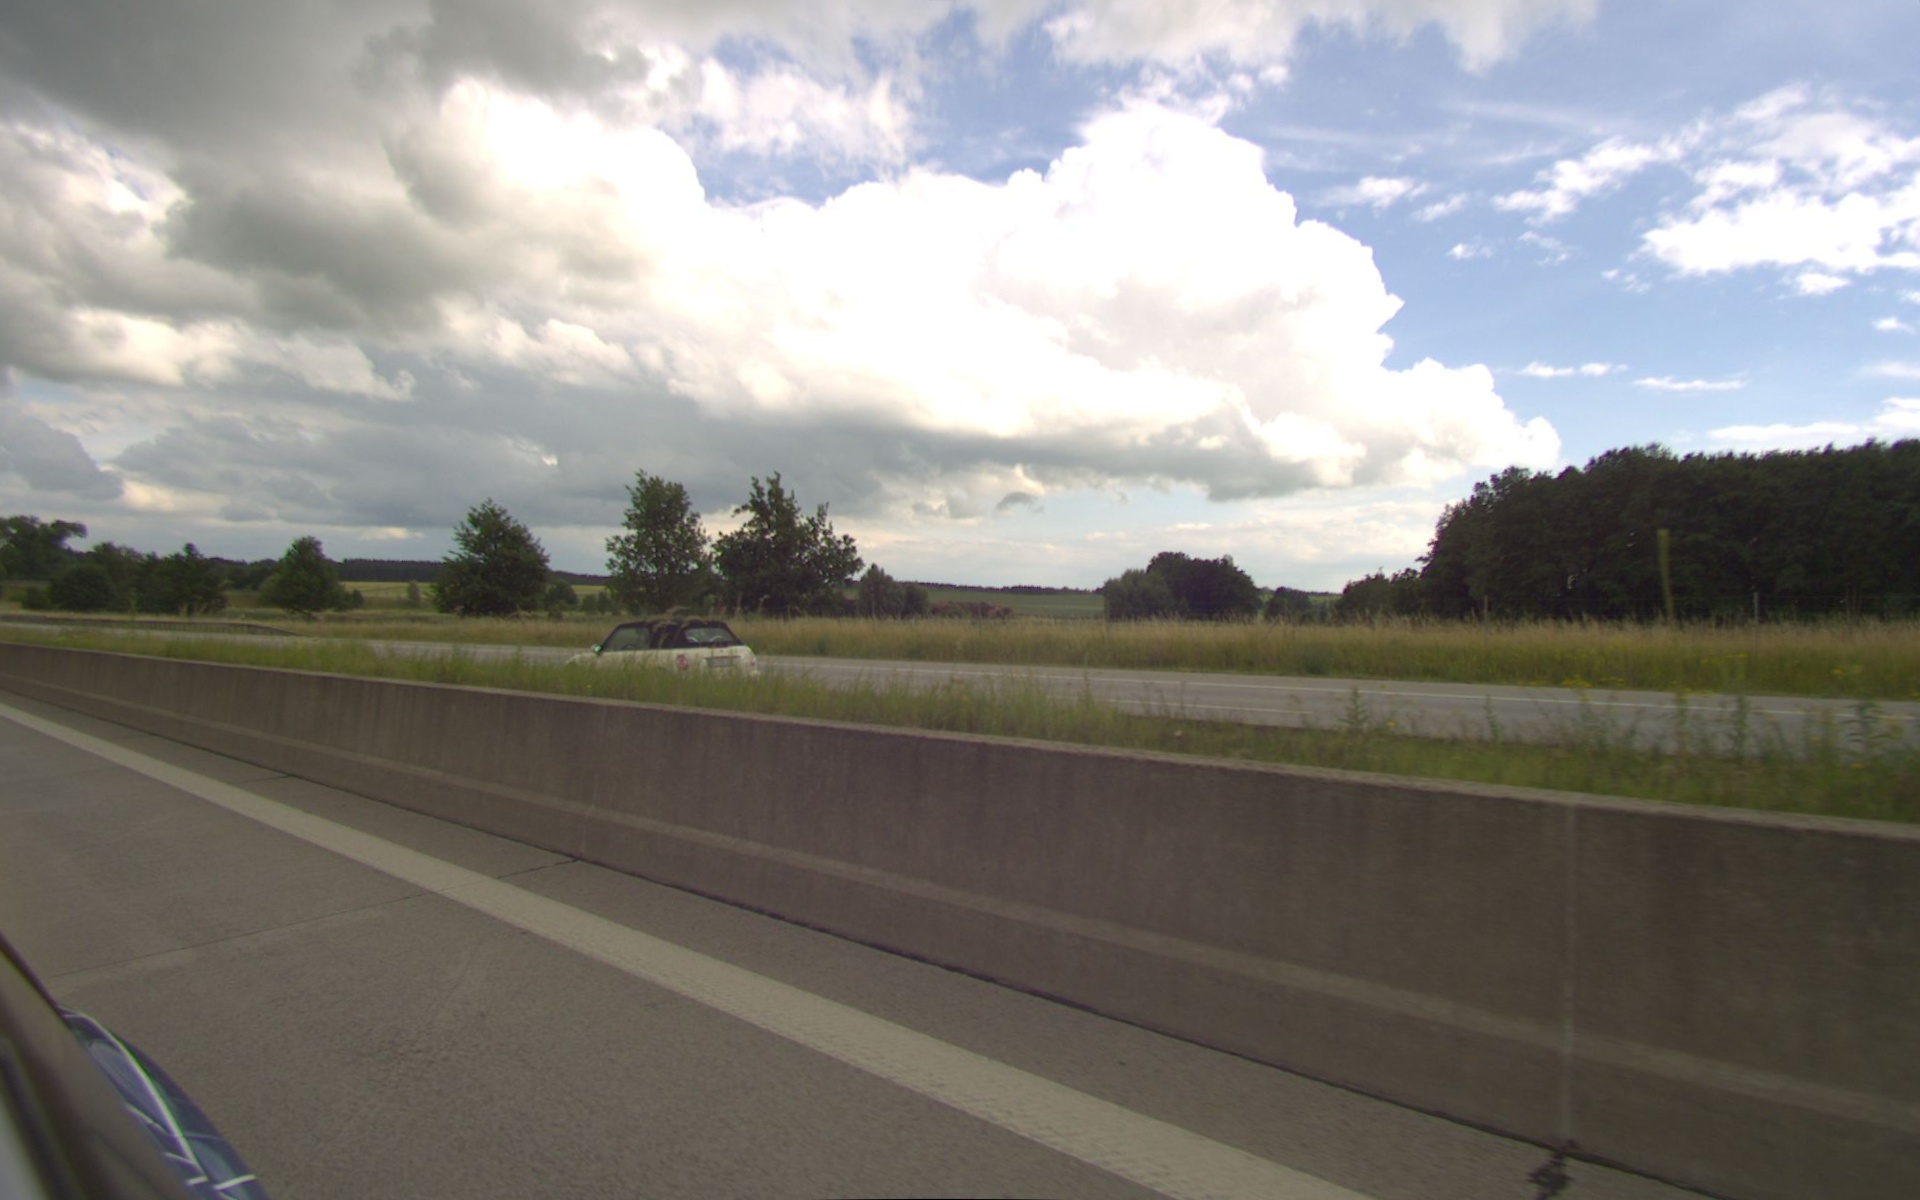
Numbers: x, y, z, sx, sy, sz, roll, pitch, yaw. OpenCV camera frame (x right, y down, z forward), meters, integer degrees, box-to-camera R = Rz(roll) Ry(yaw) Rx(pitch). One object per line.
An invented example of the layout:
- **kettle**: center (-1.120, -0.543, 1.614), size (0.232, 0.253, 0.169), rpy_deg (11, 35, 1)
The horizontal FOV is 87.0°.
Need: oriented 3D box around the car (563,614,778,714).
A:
- **car**: center (-4.538, 0.920, 15.662), size (3.471, 1.362, 1.551), rpy_deg (-1, -1, 41)
